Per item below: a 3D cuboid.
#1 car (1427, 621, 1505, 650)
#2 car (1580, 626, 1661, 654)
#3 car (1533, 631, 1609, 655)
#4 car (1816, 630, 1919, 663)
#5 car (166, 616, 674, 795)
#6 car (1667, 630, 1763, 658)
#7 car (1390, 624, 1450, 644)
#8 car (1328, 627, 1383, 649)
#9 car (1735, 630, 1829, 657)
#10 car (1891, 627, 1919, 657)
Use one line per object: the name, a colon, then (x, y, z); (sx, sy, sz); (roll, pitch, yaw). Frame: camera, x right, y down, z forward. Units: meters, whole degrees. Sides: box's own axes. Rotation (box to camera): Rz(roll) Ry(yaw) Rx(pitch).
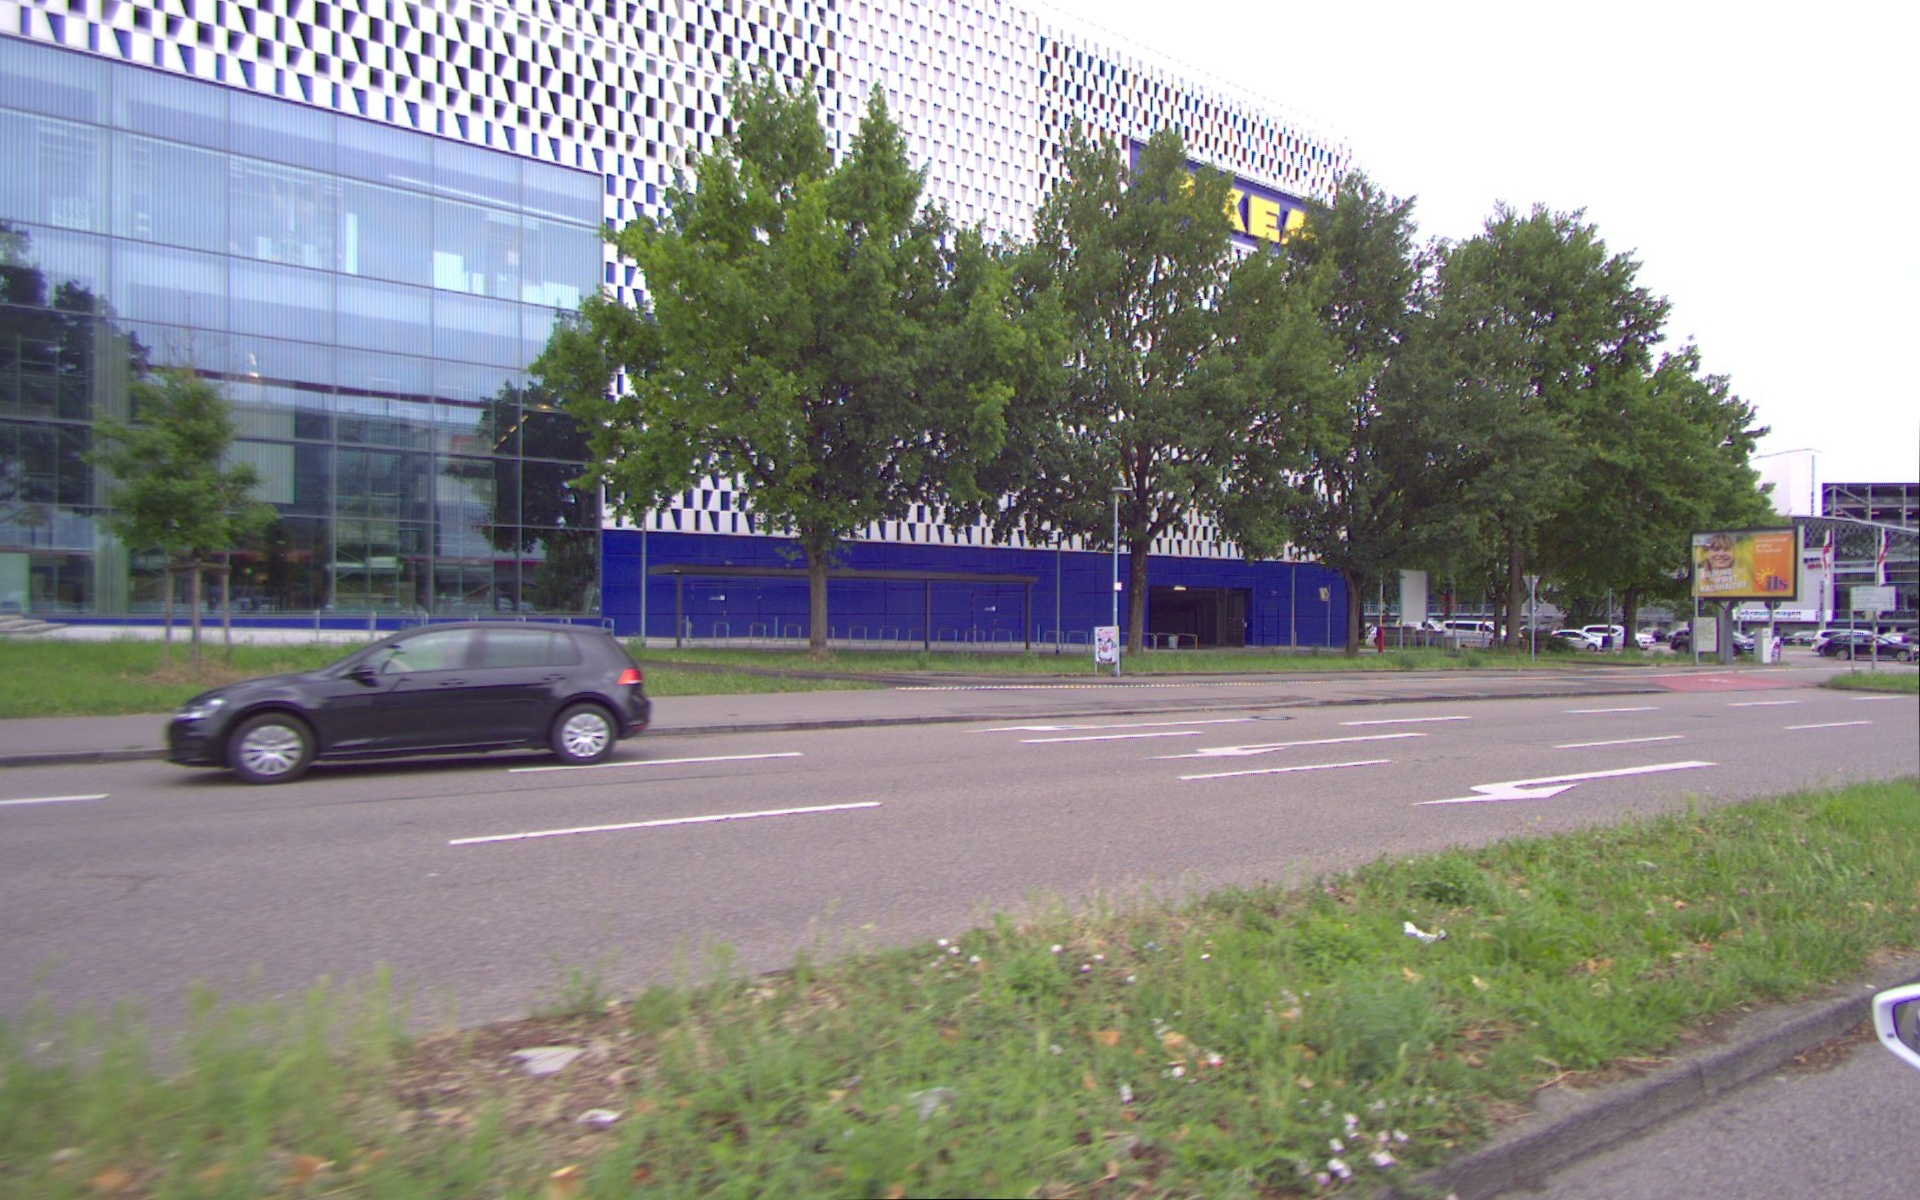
car: (39.049, 2.741, 77.639); (1.860, 1.990, 5.102); (-3, 1, -33)
car: (46.898, 2.833, 71.379); (1.979, 1.734, 4.405); (-3, 2, -34)
car: (43.258, 3.030, 71.199); (1.972, 1.532, 4.203); (0, 0, -33)
car: (51.914, 2.621, 57.258); (1.981, 1.682, 4.386); (1, -1, -36)
car: (-5.209, 0.966, 10.170); (4.132, 1.474, 1.923); (1, -3, -30)
car: (47.744, 2.773, 63.590); (1.981, 1.682, 4.513); (1, -1, -36)
car: (38.675, 2.857, 84.560); (1.972, 1.524, 4.203); (0, 0, -33)
car: (33.798, 3.250, 85.982); (1.827, 1.690, 4.095); (-1, 0, -32)
car: (51.824, 2.710, 63.391); (1.980, 1.529, 4.219); (-1, 0, -36)
car: (58.331, 2.526, 59.511); (1.981, 1.666, 4.371); (-1, 0, -37)
